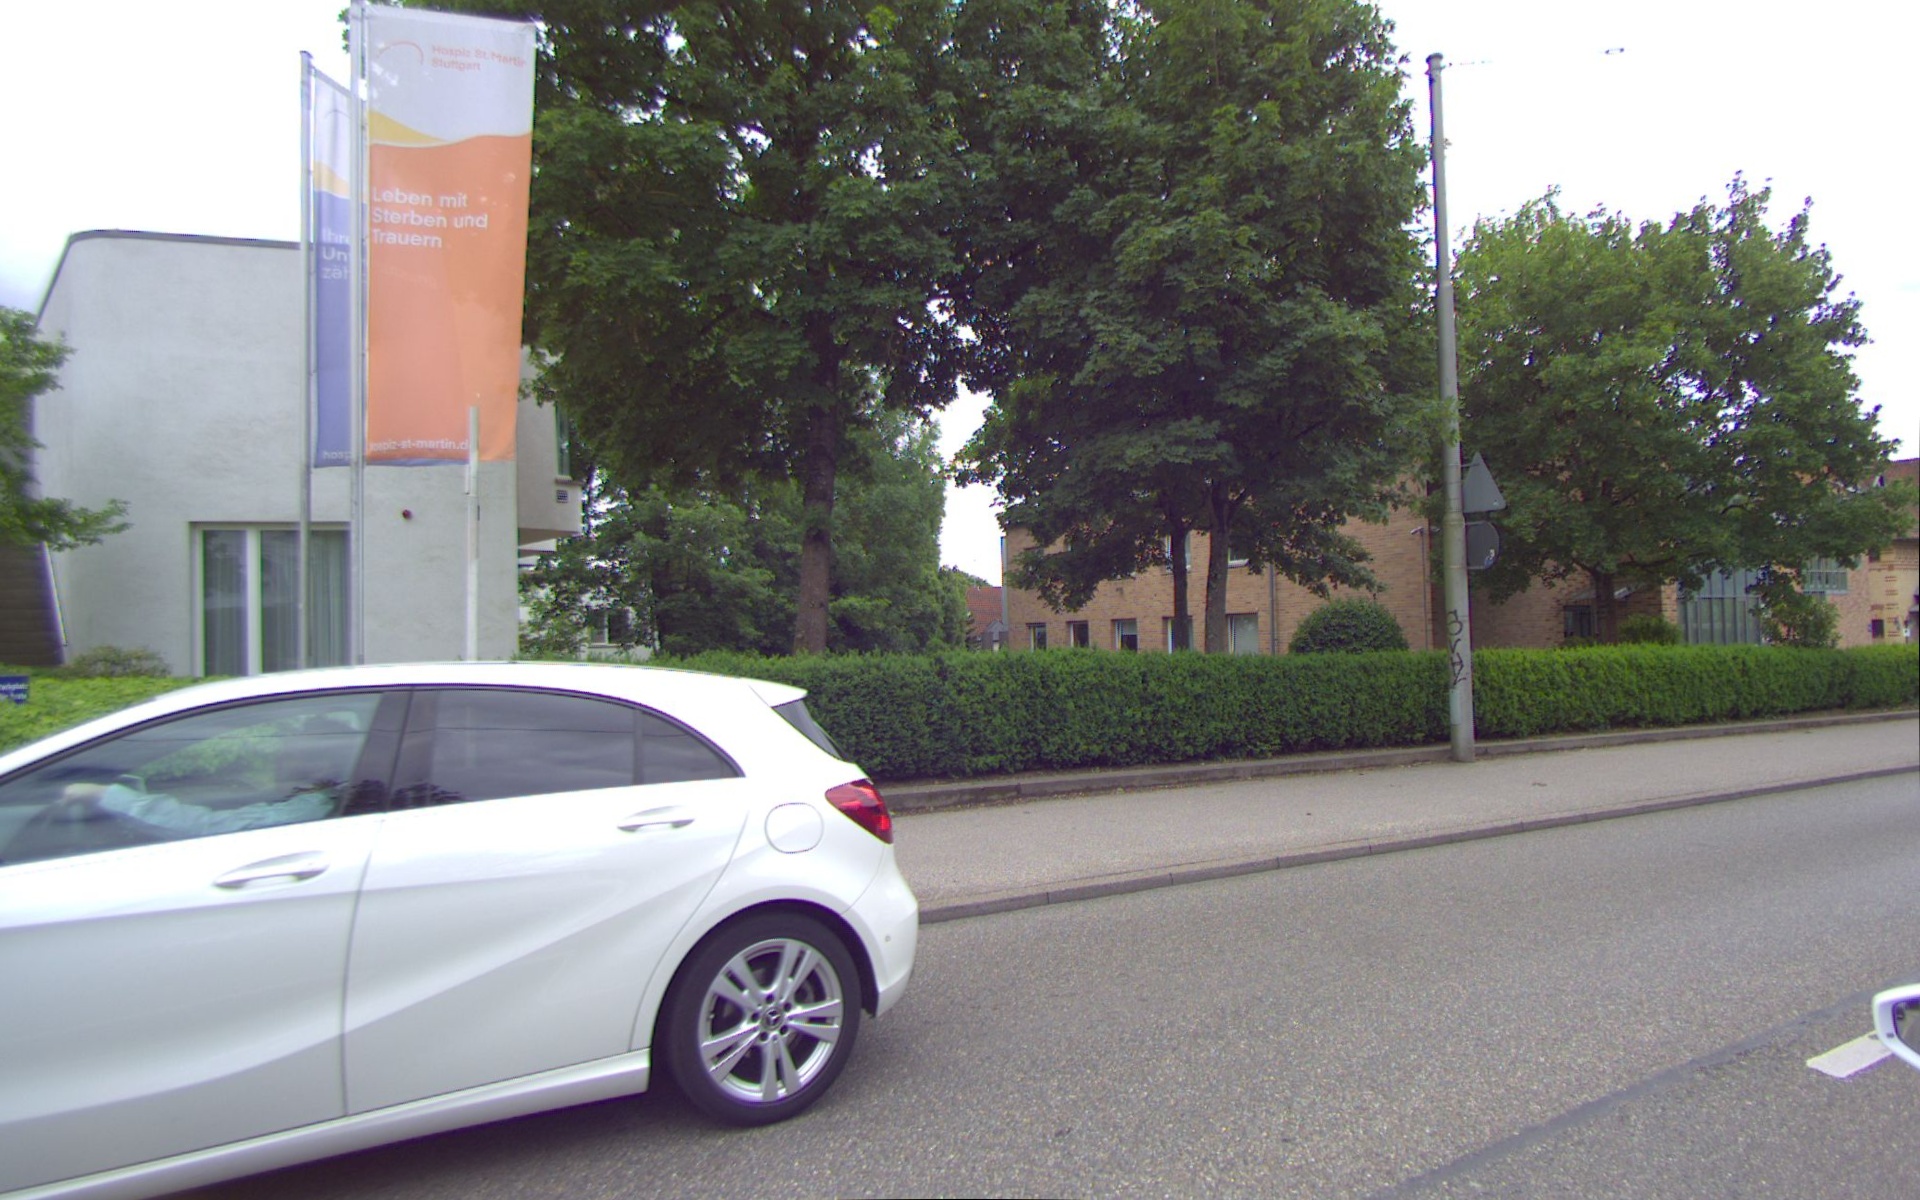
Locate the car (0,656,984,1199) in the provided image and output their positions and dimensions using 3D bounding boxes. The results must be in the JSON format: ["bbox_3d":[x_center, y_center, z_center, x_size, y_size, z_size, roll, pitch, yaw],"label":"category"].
[{"bbox_3d":[-2.092,0.932,3.141,4.018,1.440,1.759,2,-5,-30],"label":"car"}]
